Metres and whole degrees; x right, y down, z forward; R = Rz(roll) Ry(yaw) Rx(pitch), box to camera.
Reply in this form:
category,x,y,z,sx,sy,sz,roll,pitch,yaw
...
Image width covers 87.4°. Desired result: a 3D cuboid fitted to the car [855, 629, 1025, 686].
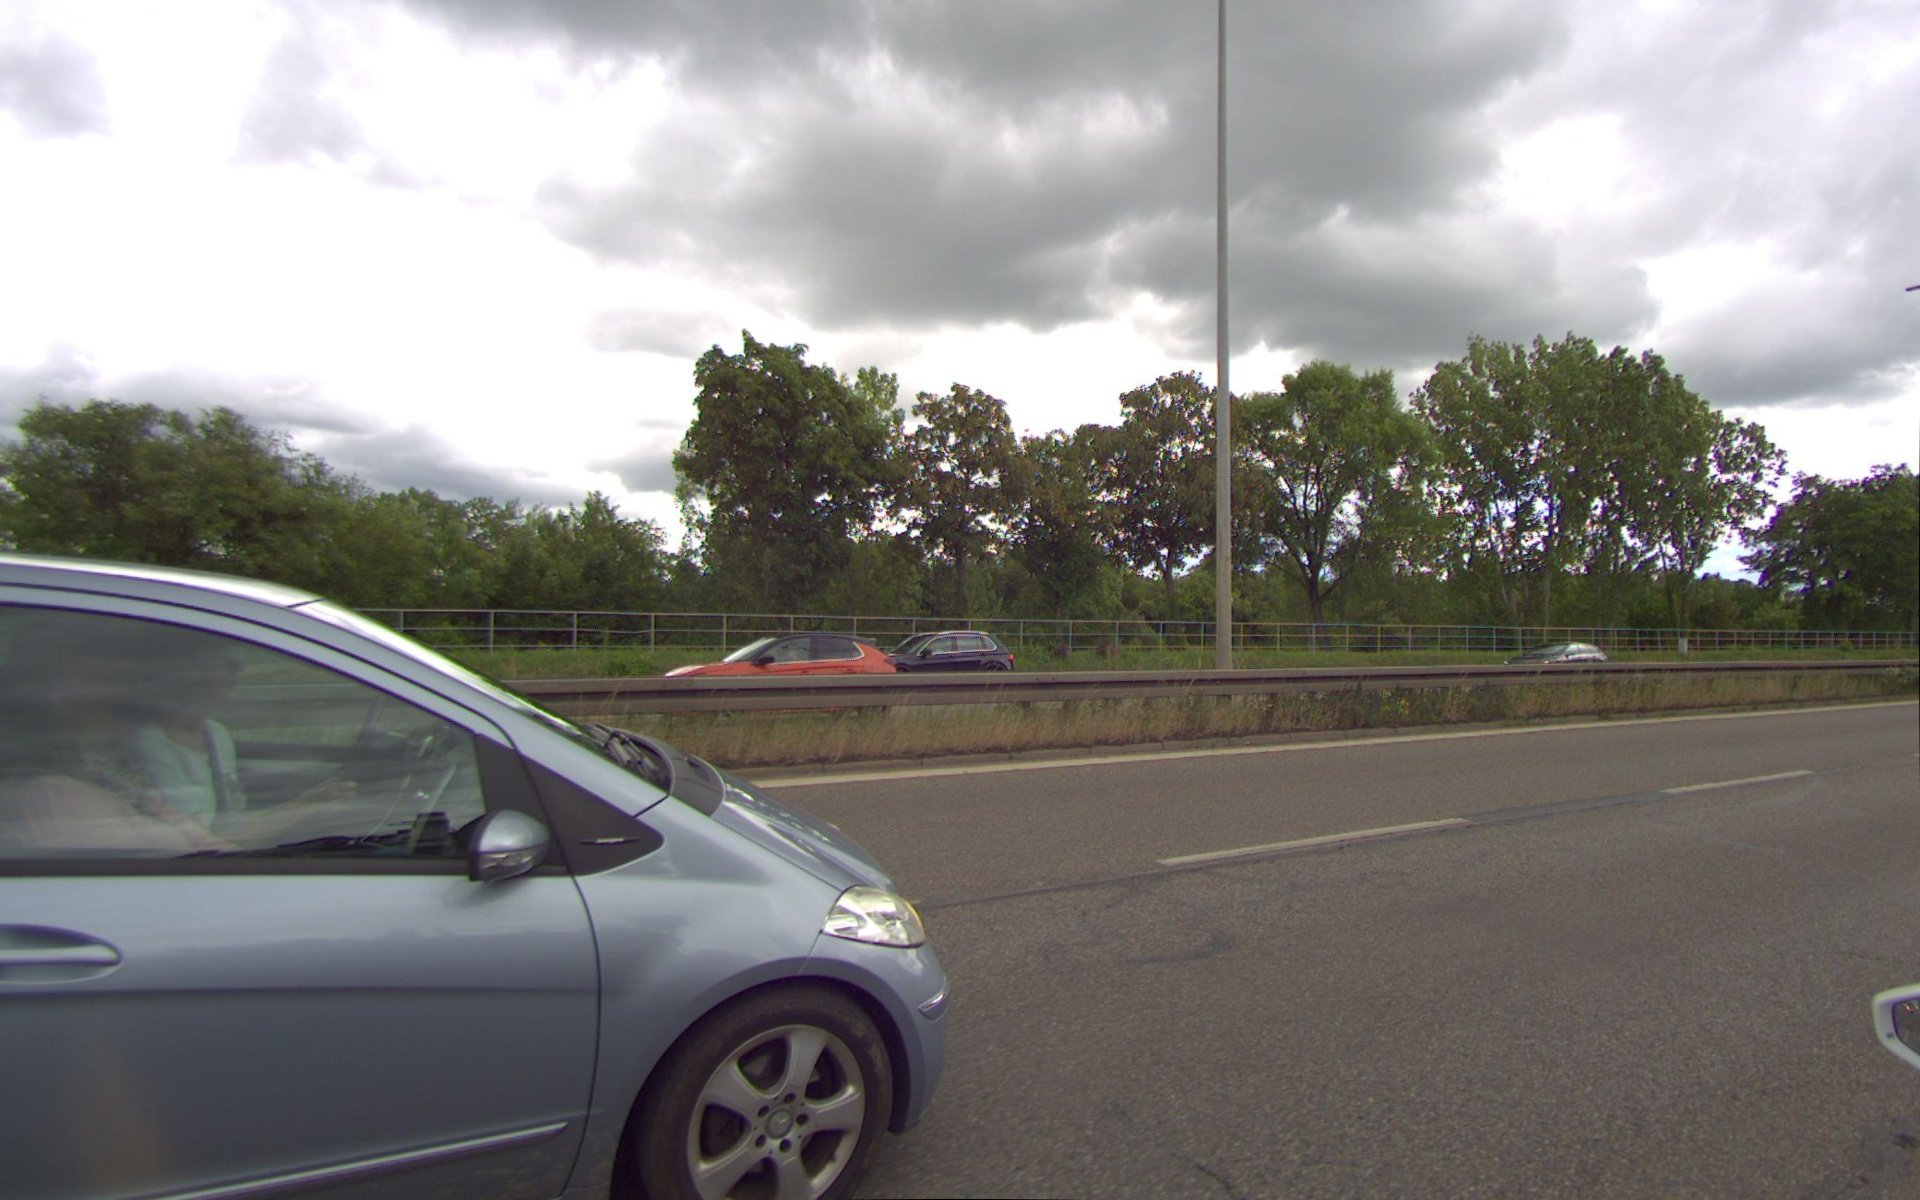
category,x,y,z,sx,sy,sz,roll,pitch,yaw
car,-0.475,1.393,25.235,4.013,1.316,1.571,1,-1,-30

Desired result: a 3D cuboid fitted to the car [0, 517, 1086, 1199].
category,x,y,z,sx,sy,sz,roll,pitch,yaw
car,-1.888,0.663,2.418,4.099,1.559,1.869,1,-1,-31

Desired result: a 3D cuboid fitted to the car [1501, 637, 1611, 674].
category,x,y,z,sx,sy,sz,roll,pitch,yaw
car,22.998,2.107,38.722,4.733,1.316,1.651,1,-1,-31

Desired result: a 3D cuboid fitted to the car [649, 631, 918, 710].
category,x,y,z,sx,sy,sz,roll,pitch,yaw
car,-2.812,1.079,16.269,4.019,1.120,1.538,1,-1,-30
